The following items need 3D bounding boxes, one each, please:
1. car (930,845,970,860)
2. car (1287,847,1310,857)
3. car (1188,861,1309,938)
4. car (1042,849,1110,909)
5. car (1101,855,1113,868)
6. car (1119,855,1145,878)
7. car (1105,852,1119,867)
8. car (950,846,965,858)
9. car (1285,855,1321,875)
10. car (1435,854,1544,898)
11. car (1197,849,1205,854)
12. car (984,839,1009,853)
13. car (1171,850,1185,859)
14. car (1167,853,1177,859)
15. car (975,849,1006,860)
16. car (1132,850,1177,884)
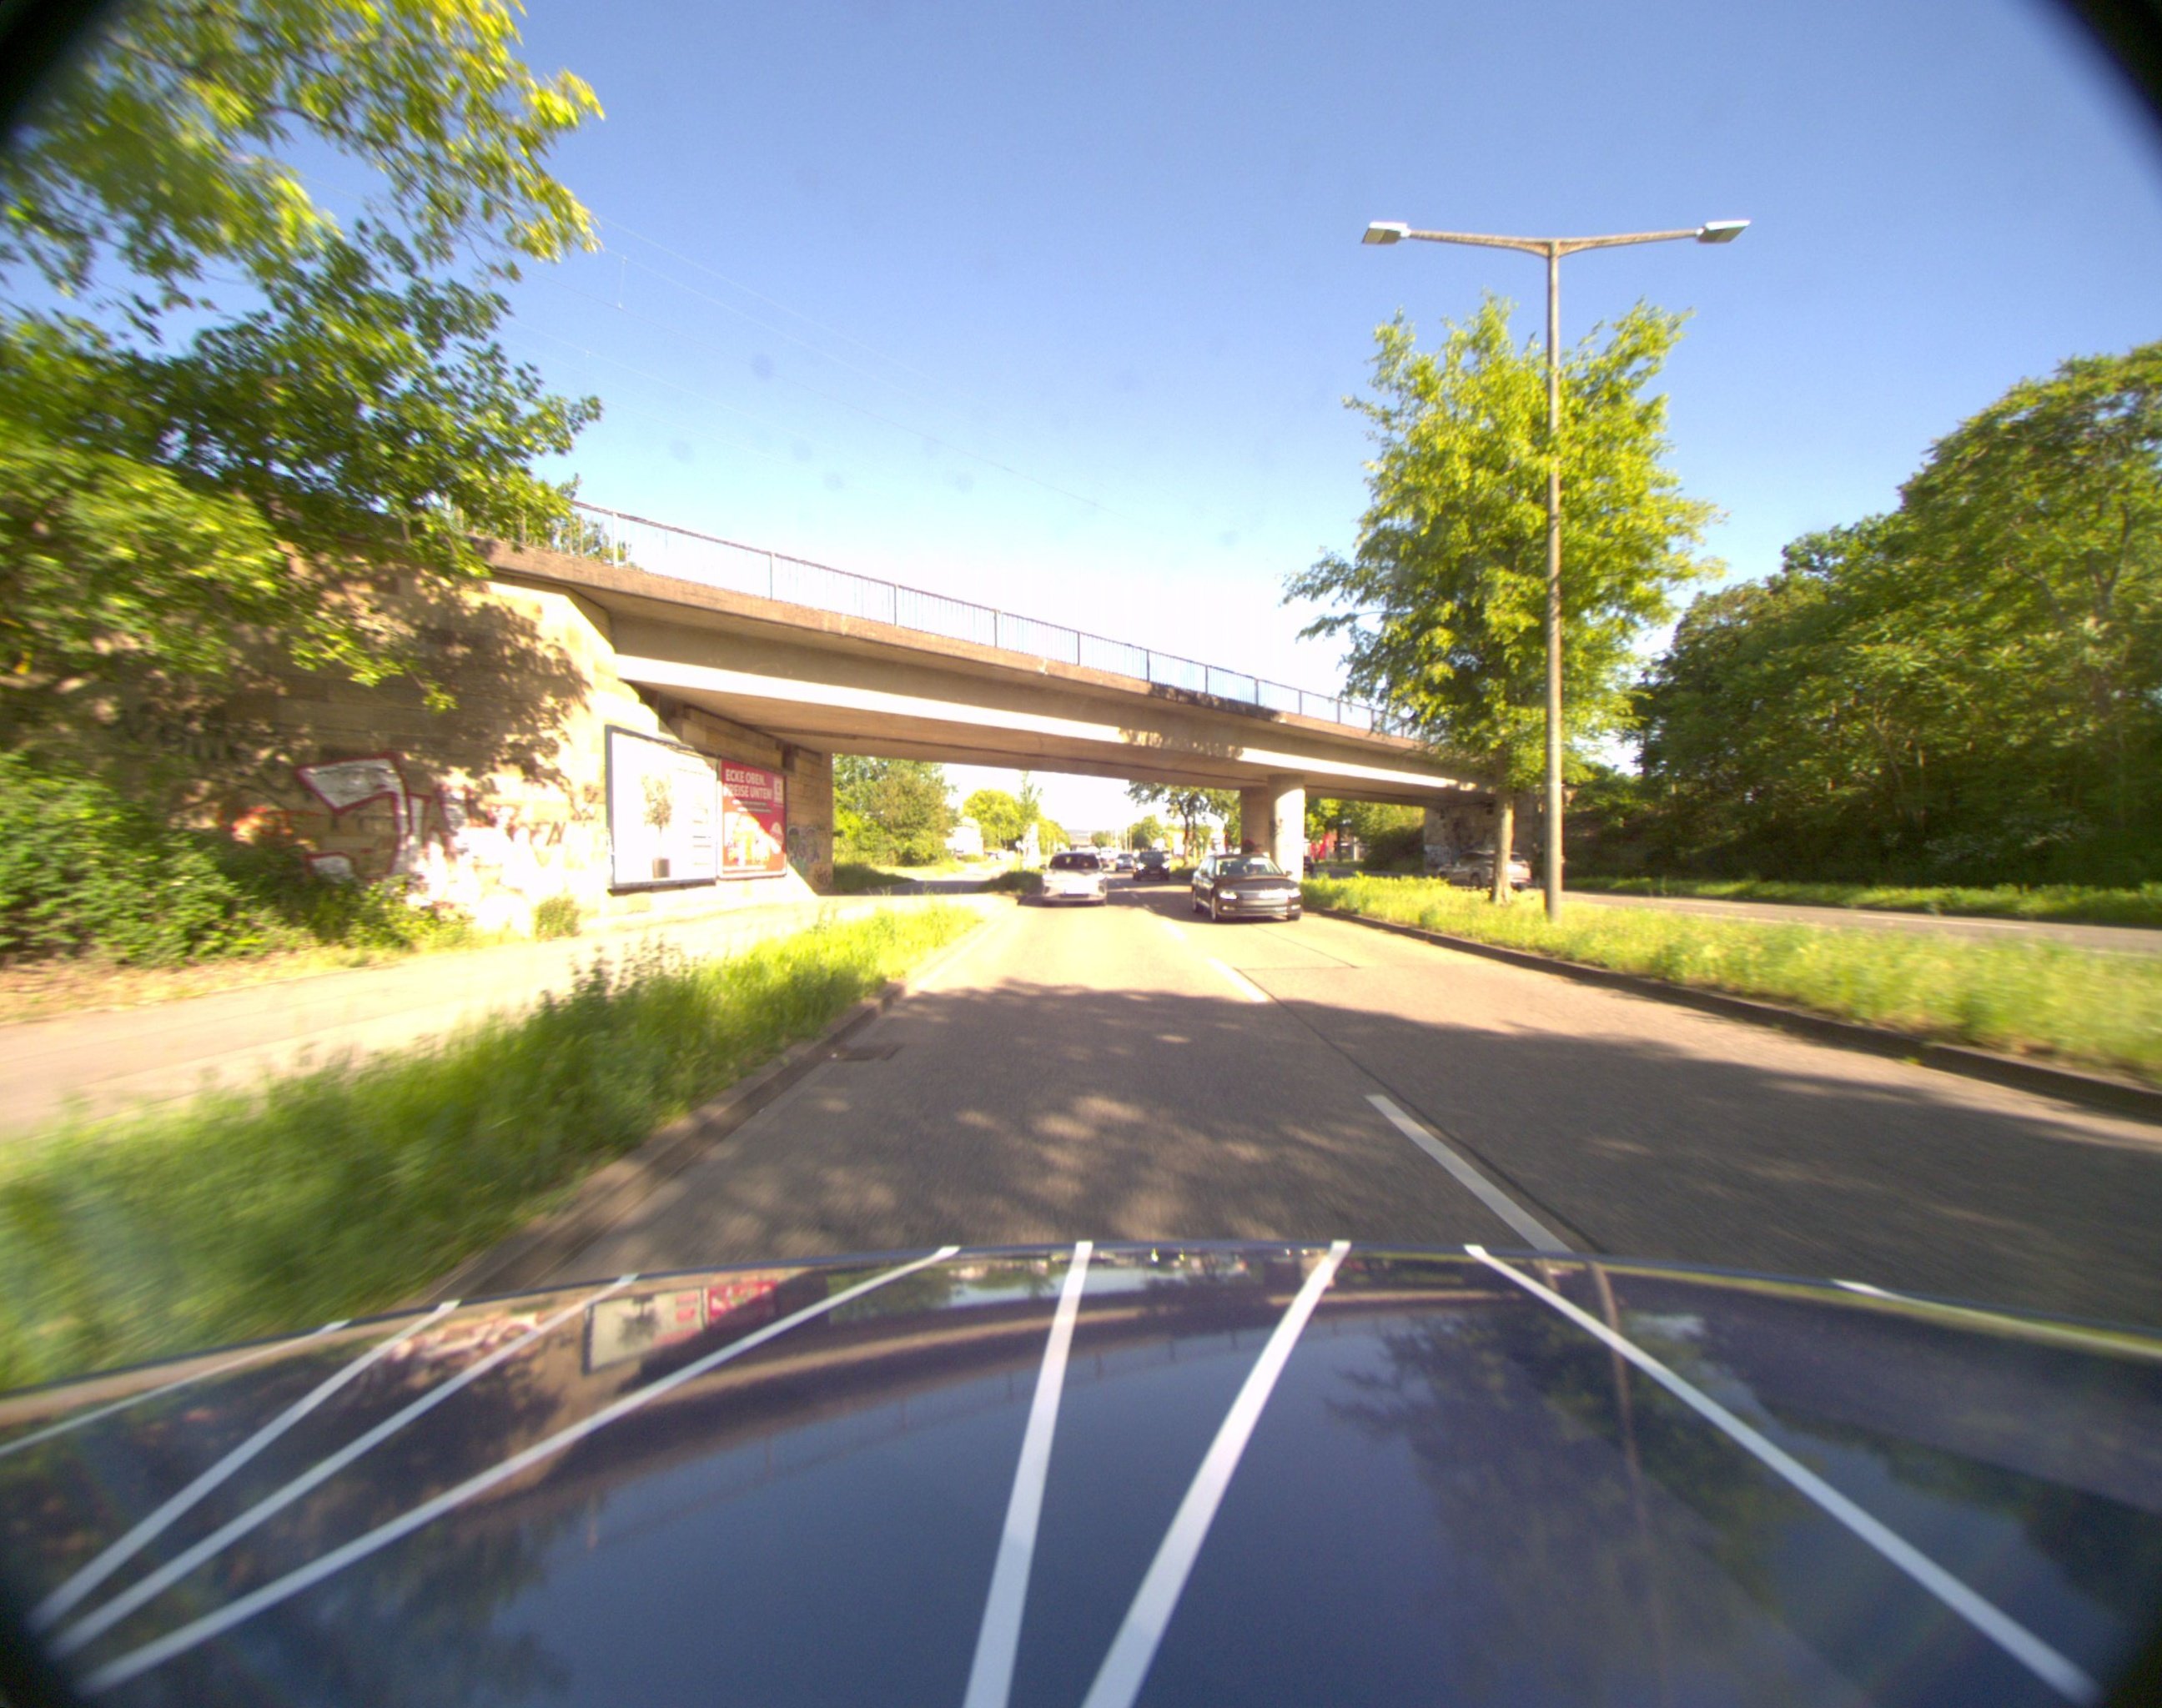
[{"bbox_3d":[-15.572,-0.146,90.545,4.547,1.630,1.805,3,1,30],"label":"car"},{"bbox_3d":[41.151,-0.385,143.962,1.851,1.840,3.820,-2,1,-39],"label":"car"},{"bbox_3d":[3.620,0.916,17.202,1.848,1.445,4.265,-1,0,1],"label":"car"},{"bbox_3d":[-0.103,0.687,23.064,1.848,1.615,4.265,-1,0,1],"label":"car"},{"bbox_3d":[4.443,1.256,131.445,1.998,2.002,3.999,-2,1,0],"label":"car"},{"bbox_3d":[4.311,1.050,64.819,1.998,1.779,4.270,-2,1,0],"label":"car"},{"bbox_3d":[4.851,0.808,119.730,2.089,2.229,3.999,-2,1,0],"label":"car"},{"bbox_3d":[-20.549,-0.388,126.613,1.898,1.850,4.215,3,1,-2],"label":"car"},{"bbox_3d":[17.580,0.866,60.339,1.847,1.453,3.639,1,1,0],"label":"car"},{"bbox_3d":[16.265,0.830,30.557,1.987,1.543,4.592,-2,1,1],"label":"car"},{"bbox_3d":[38.226,-0.792,241.737,1.762,1.604,4.119,1,1,-1],"label":"car"},{"bbox_3d":[-14.836,-1.449,133.272,3.986,2.002,1.690,8,1,33],"label":"car"},{"bbox_3d":[16.677,0.069,130.428,1.821,1.434,4.089,0,1,0],"label":"car"},{"bbox_3d":[21.880,0.447,183.143,1.919,1.446,4.489,2,1,0],"label":"car"},{"bbox_3d":[-14.810,0.125,123.919,1.895,1.522,4.847,3,1,44],"label":"car"},{"bbox_3d":[4.019,0.669,42.237,1.998,1.674,4.695,-2,1,0],"label":"car"}]
